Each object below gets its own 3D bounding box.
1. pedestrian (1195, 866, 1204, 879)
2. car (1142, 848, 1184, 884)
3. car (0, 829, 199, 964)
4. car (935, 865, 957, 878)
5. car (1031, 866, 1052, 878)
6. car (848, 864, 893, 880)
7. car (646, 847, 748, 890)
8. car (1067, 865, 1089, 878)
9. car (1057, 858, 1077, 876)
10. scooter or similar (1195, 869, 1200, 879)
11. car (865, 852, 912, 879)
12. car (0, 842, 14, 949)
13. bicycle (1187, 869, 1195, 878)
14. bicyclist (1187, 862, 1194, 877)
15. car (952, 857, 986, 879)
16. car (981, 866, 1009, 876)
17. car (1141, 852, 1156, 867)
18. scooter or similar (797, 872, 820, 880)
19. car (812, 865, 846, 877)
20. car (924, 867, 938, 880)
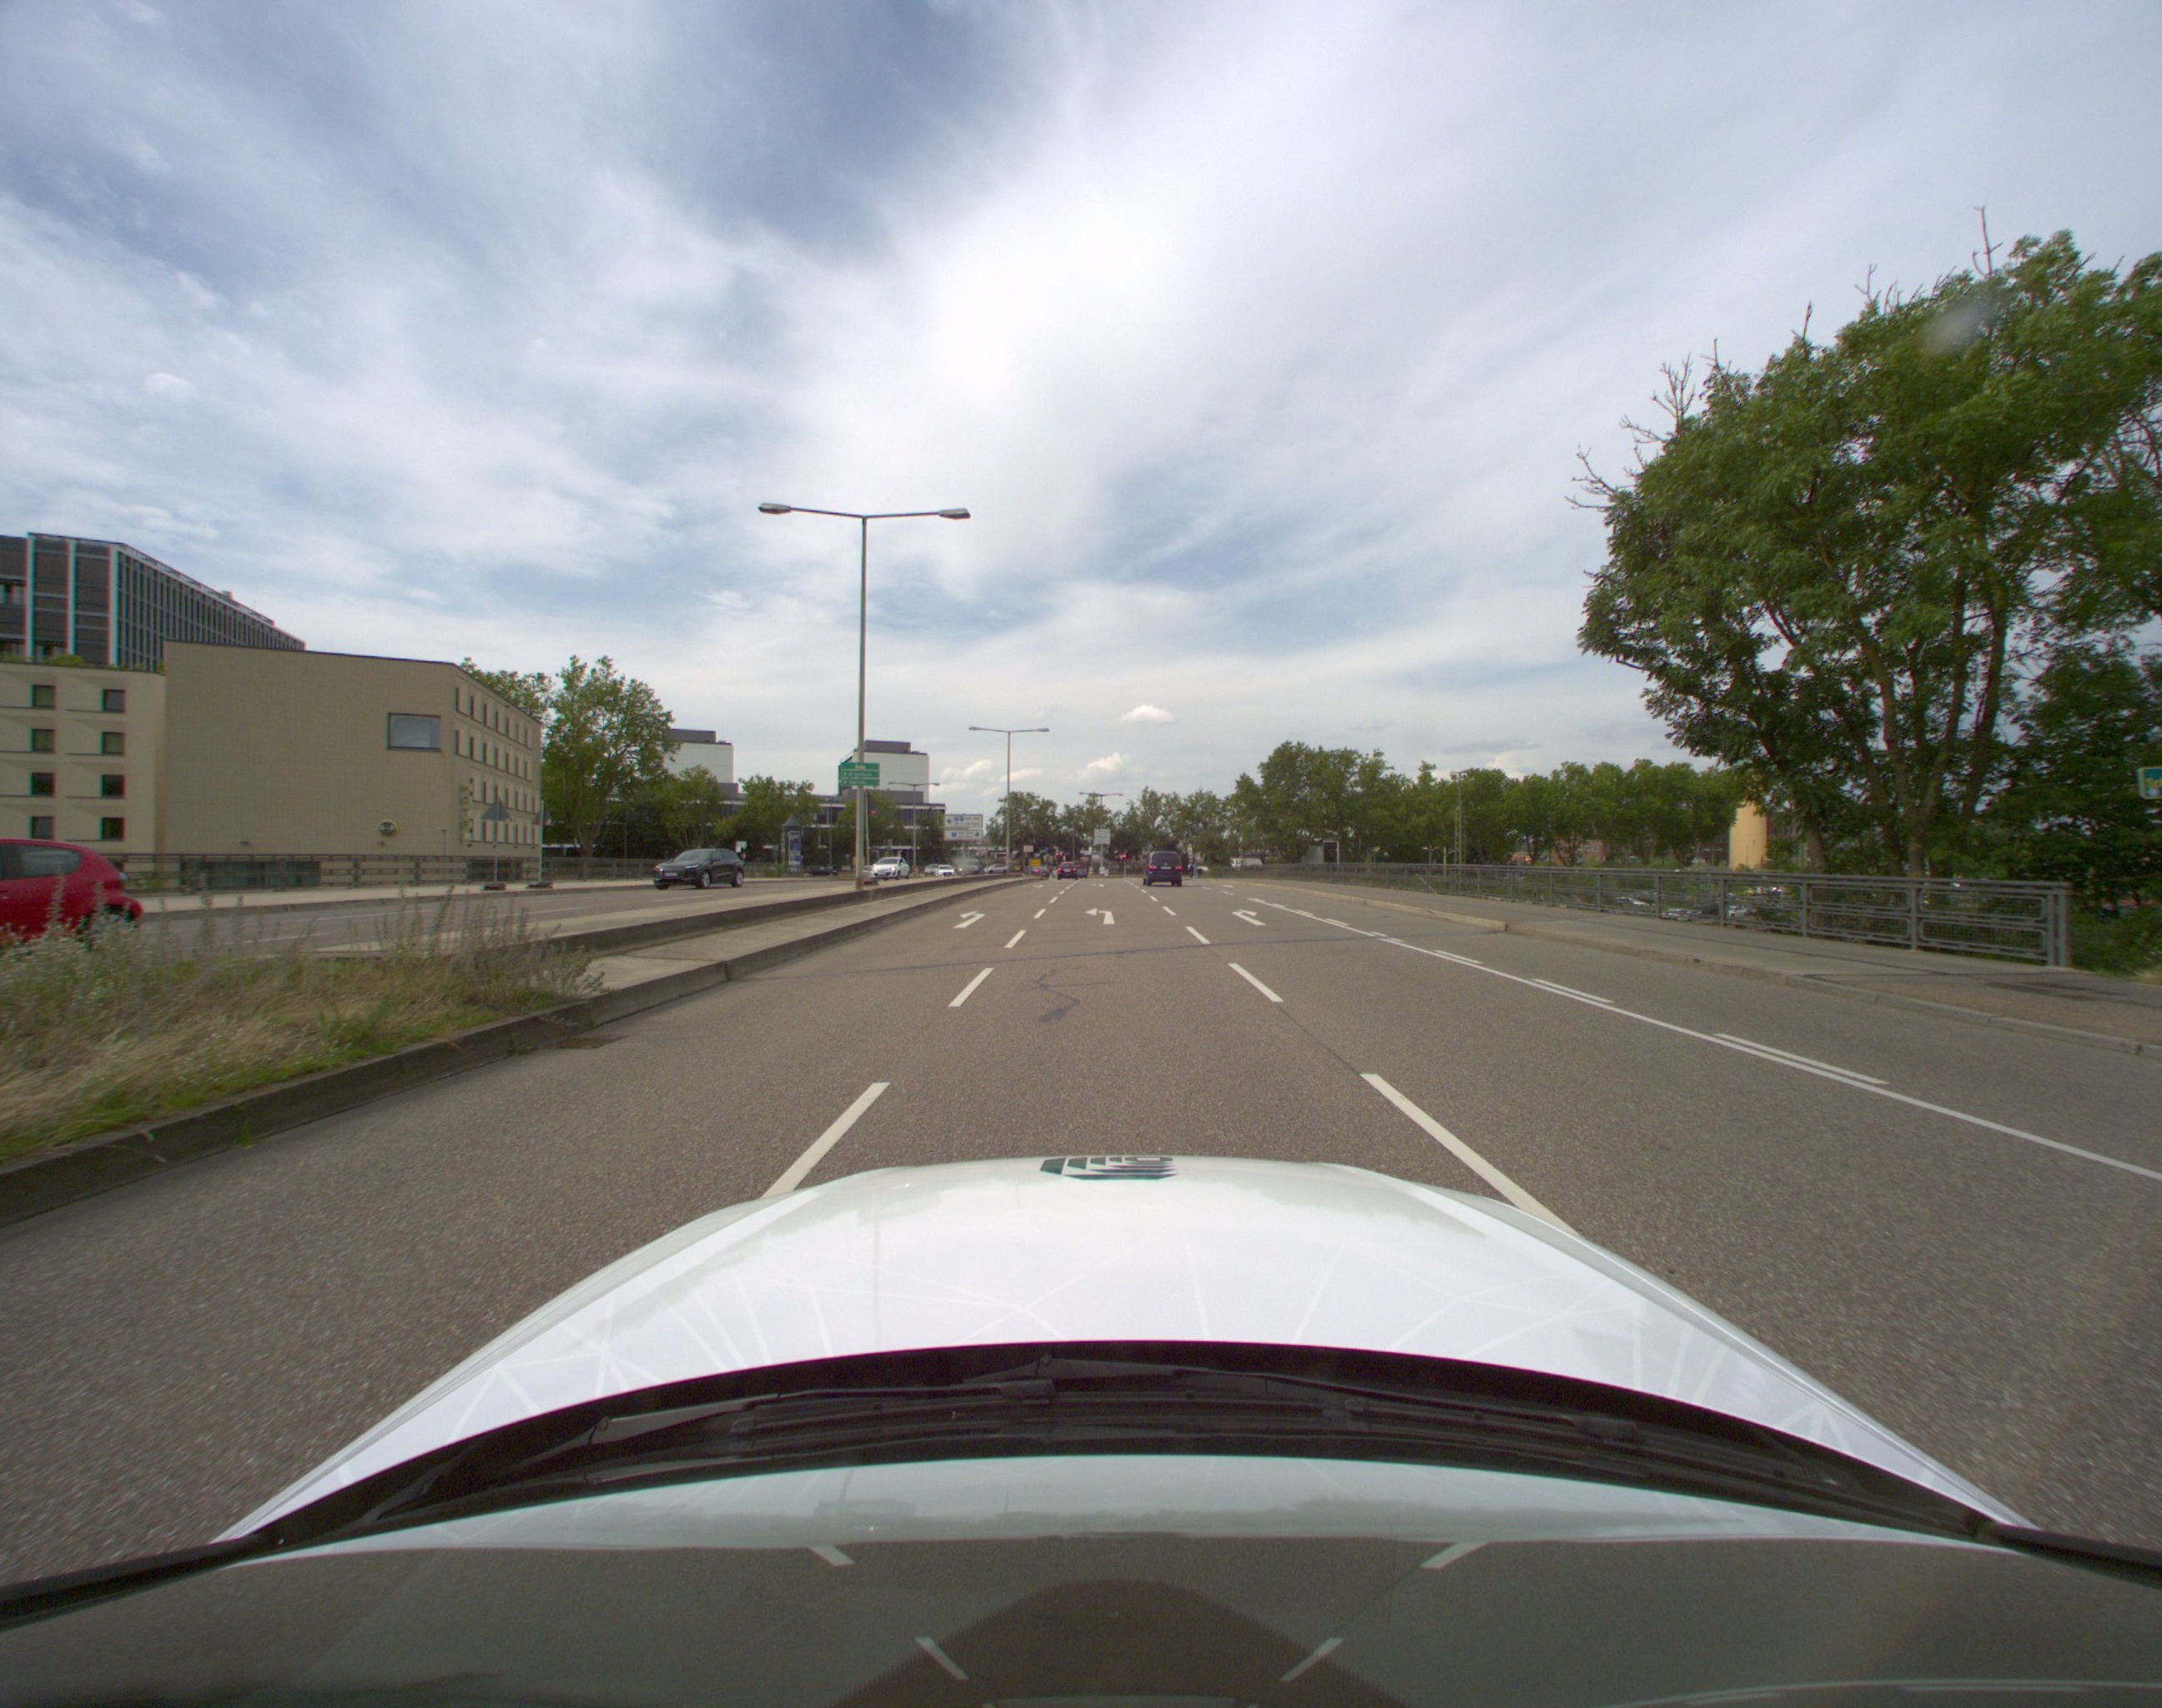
[{"bbox_3d":[15.856,2.535,109.041,1.040,1.710,0.856,1,-1,12],"label":"pedestrian"},{"bbox_3d":[4.148,0.655,41.600,1.744,1.725,4.137,2,-2,1],"label":"car"},{"bbox_3d":[-13.102,0.479,9.298,1.717,1.532,3.918,0,-1,1],"label":"car"},{"bbox_3d":[-14.969,1.909,90.008,1.922,1.415,4.855,-1,-1,-15],"label":"car"},{"bbox_3d":[-4.709,2.130,96.060,1.819,1.414,4.757,1,-1,-11],"label":"car"},{"bbox_3d":[-22.221,1.905,85.951,4.817,1.526,1.937,-2,-1,35],"label":"car"},{"bbox_3d":[-15.709,0.569,33.615,1.879,1.640,4.548,0,-1,3],"label":"car"},{"bbox_3d":[-0.380,2.019,93.593,1.743,1.546,4.062,0,-2,-13],"label":"car"},{"bbox_3d":[-1.299,1.140,73.013,1.752,1.575,4.033,1,-1,-2],"label":"car"},{"bbox_3d":[13.795,2.371,96.437,0.396,1.183,1.277,0,-2,-6],"label":"scooter or similar"},{"bbox_3d":[-11.979,0.724,50.855,1.881,1.640,4.217,0,-1,0],"label":"car"},{"bbox_3d":[-16.470,0.569,9.577,1.880,1.532,4.453,0,-1,1],"label":"car"},{"bbox_3d":[12.697,2.270,94.230,0.805,0.952,2.239,0,-1,6],"label":"bicycle"},{"bbox_3d":[12.688,1.755,94.176,0.806,1.696,1.117,0,-1,5],"label":"bicyclist"},{"bbox_3d":[-8.778,1.074,64.117,1.880,1.640,4.586,0,-1,1],"label":"car"},{"bbox_3d":[-12.806,2.468,121.575,3.874,1.410,1.605,0,-2,-32],"label":"car"},{"bbox_3d":[7.877,0.656,95.265,1.683,1.585,4.159,2,-2,4],"label":"car"},{"bbox_3d":[-29.580,2.428,88.532,0.798,0.849,2.401,0,-1,30],"label":"scooter or similar"},{"bbox_3d":[-32.983,2.215,106.569,4.018,1.530,1.664,1,-1,-37],"label":"car"},{"bbox_3d":[-20.054,2.673,108.814,1.742,1.659,4.065,-1,-2,-10],"label":"car"}]
